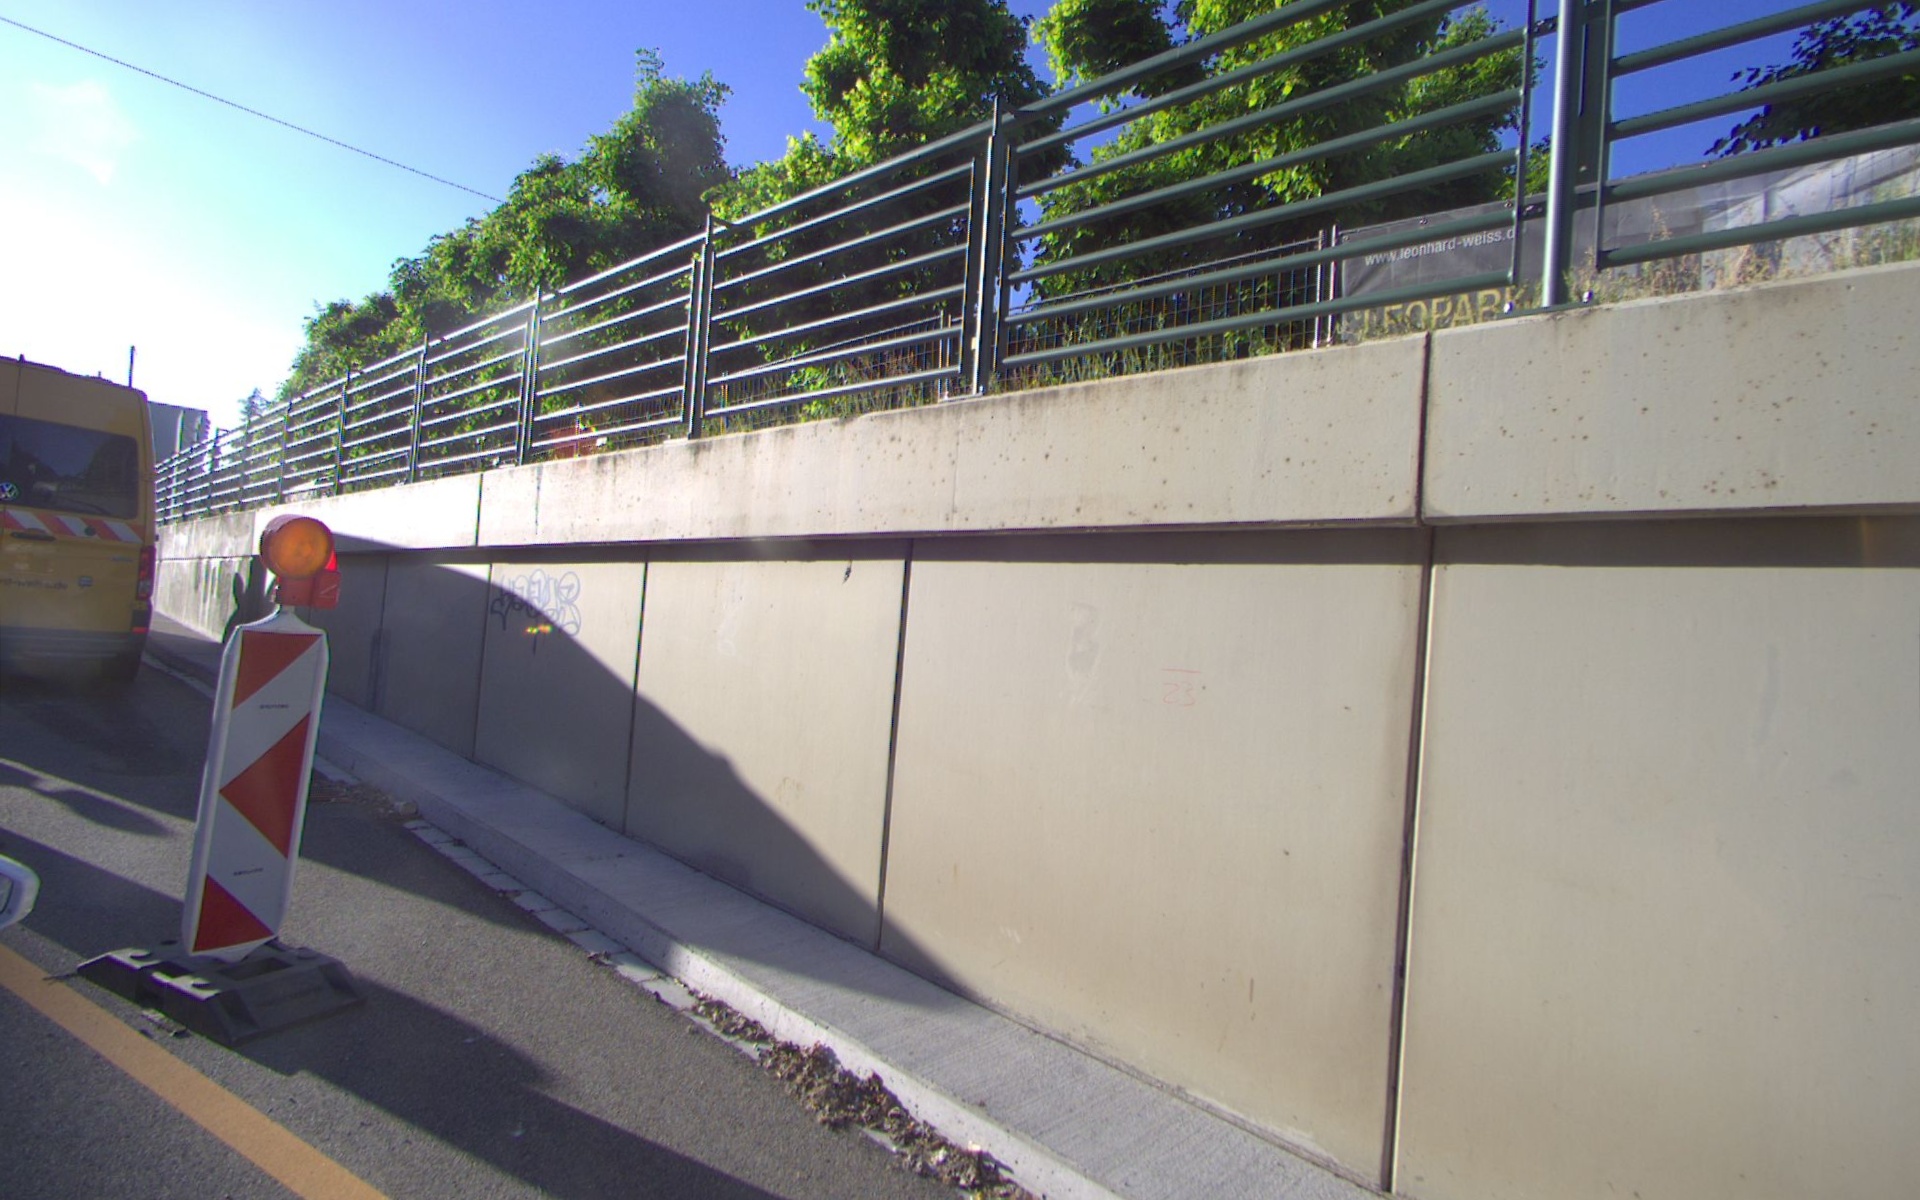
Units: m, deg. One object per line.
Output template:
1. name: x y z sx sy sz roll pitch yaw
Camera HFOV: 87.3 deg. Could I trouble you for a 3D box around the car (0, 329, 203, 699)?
1. car: -9.422 -0.850 9.758 6.896 2.656 2.107 5 -1 44
